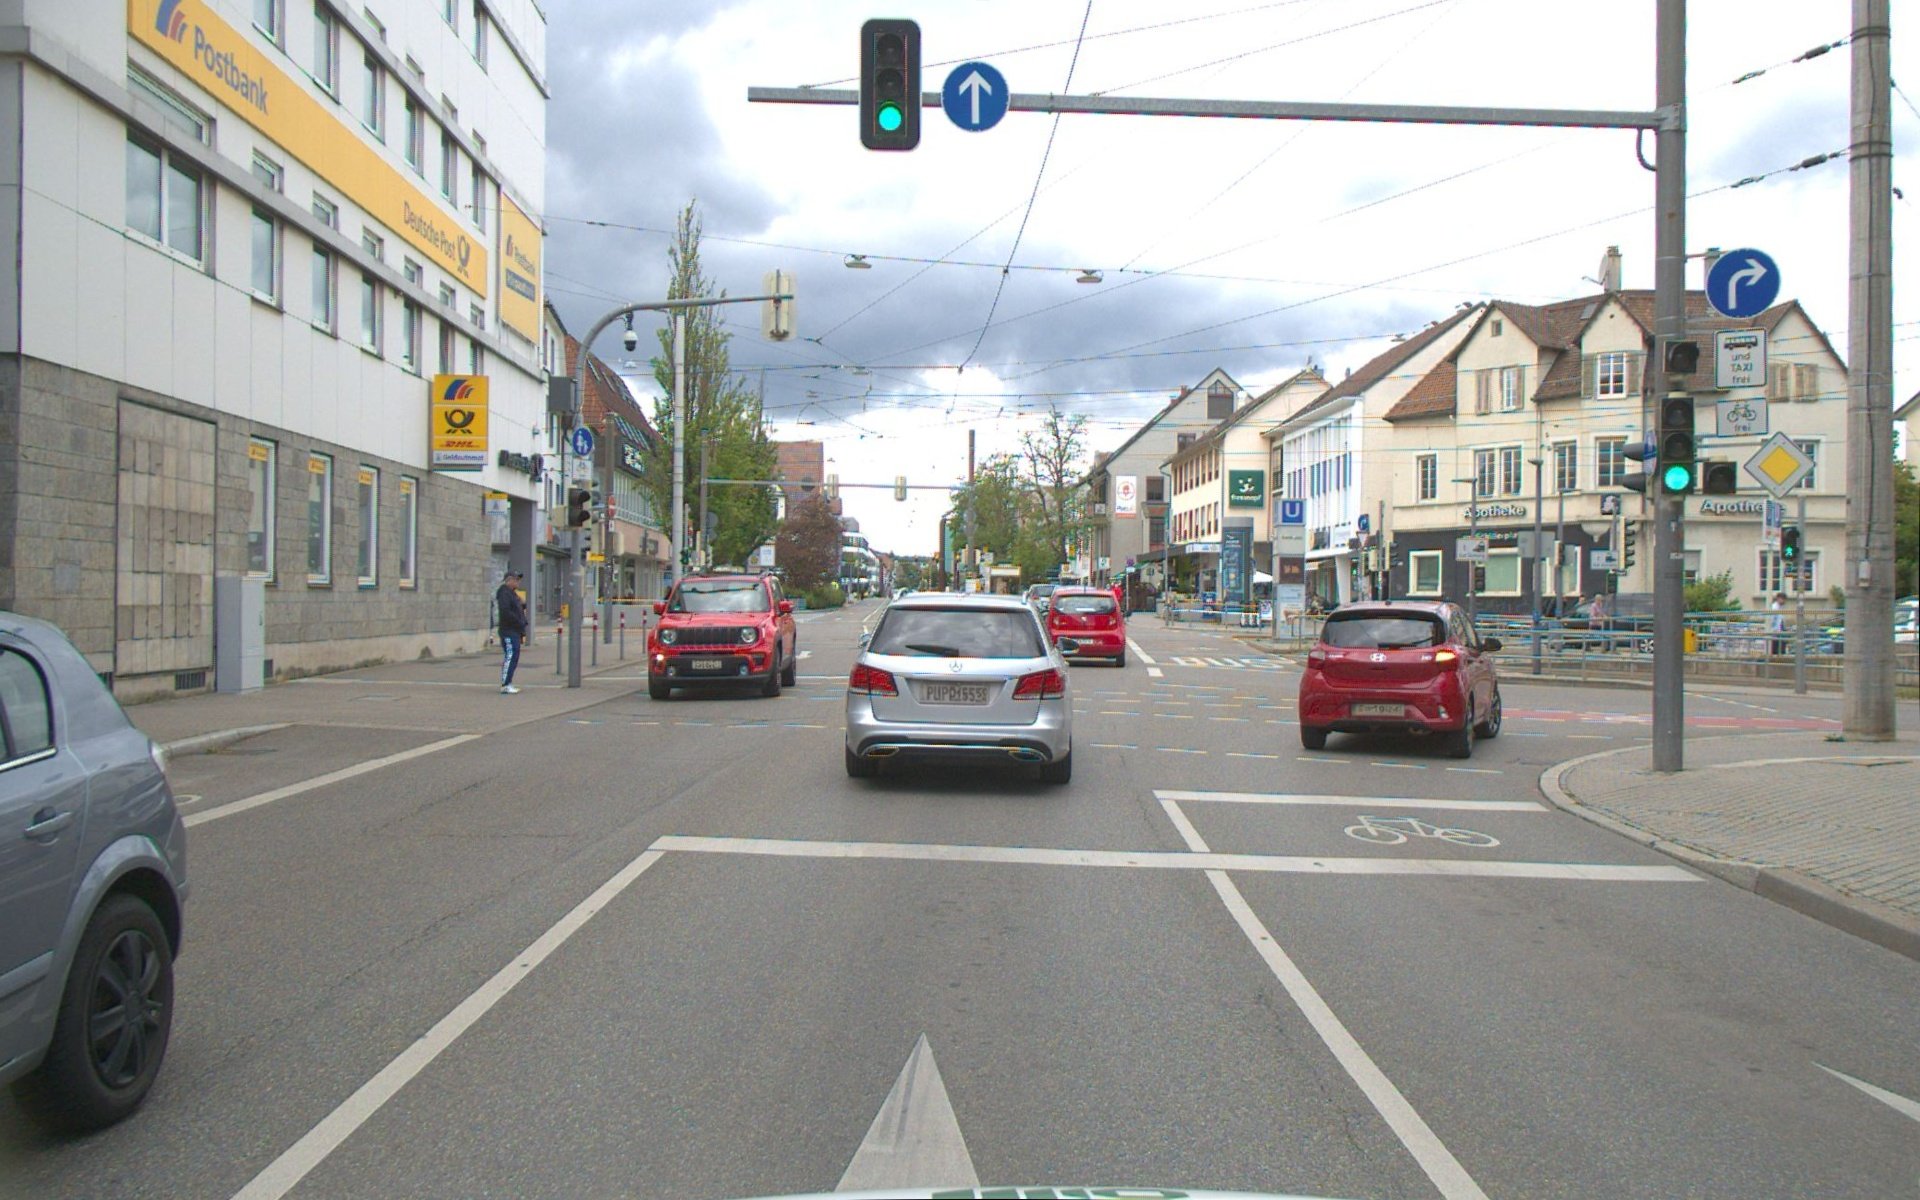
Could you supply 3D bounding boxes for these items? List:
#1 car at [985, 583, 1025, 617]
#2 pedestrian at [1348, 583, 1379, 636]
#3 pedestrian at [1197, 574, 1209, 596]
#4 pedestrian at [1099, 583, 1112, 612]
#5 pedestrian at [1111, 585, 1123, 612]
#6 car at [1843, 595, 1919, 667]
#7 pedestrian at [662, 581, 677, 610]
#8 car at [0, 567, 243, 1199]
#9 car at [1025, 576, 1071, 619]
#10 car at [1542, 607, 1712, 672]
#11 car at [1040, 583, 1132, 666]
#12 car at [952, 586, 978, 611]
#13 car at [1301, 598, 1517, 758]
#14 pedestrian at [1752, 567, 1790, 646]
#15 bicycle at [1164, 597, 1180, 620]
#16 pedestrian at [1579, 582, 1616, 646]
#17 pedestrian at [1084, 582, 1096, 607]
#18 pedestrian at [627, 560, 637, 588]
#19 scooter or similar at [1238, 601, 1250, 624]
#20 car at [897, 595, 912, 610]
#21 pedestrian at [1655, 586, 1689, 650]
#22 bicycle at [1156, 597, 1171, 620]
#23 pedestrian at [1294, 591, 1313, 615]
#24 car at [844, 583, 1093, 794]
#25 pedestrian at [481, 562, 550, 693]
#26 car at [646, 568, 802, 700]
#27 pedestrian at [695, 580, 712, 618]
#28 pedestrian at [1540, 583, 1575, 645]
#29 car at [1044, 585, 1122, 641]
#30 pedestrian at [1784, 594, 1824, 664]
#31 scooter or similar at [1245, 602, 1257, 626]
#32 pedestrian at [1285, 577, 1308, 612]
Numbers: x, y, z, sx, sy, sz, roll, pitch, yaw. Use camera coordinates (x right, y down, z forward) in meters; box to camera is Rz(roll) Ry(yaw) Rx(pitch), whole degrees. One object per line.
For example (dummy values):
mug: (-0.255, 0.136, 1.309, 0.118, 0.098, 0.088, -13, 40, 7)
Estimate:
car: (2.473, -0.004, 91.562, 1.953, 1.780, 3.998, 1, 0, -3)
pedestrian: (13.359, 0.299, 54.759, 0.824, 1.748, 0.726, 0, 0, -5)
pedestrian: (14.235, -0.870, 96.835, 0.522, 1.240, 0.579, 1, 0, -5)
pedestrian: (8.408, -0.143, 95.558, 0.566, 1.695, 0.650, 1, 0, -5)
pedestrian: (8.760, -0.099, 92.324, 0.566, 1.495, 0.650, 1, 0, -3)
car: (27.420, 0.892, 45.932, 1.972, 1.952, 4.712, 2, -1, -41)
pedestrian: (-16.407, -0.260, 93.420, 0.693, 1.634, 0.576, 0, 0, -23)
car: (-2.995, 0.678, 3.168, 1.624, 1.492, 3.919, 0, 0, -2)
car: (3.752, -0.129, 71.223, 1.699, 1.790, 3.999, 0, 0, -1)
car: (20.968, 1.224, 52.080, 4.614, 1.853, 1.853, 1, -1, 43)
car: (2.584, 0.452, 33.331, 1.697, 1.534, 4.003, 1, 0, 6)
car: (0.396, -0.117, 139.765, 1.954, 2.049, 3.997, 1, 0, -4)
car: (4.907, 0.729, 17.717, 1.664, 1.477, 3.998, 1, 0, 23)
pedestrian: (18.116, 0.135, 36.954, 0.637, 1.748, 0.701, 0, 0, 38)
bicycle: (10.408, 0.424, 81.165, 0.439, 1.127, 2.148, 0, 0, -1)
pedestrian: (17.706, 0.386, 45.919, 0.639, 1.748, 0.783, 3, 1, 45)
pedestrian: (7.876, -0.340, 100.154, 0.567, 1.460, 0.650, 1, 0, -8)
pedestrian: (-19.271, -1.541, 97.213, 0.568, 1.634, 0.642, 0, 0, -15)
scooter or similar: (12.685, 0.565, 73.994, 0.266, 1.019, 1.028, 0, 0, -5)
car: (-7.687, 0.354, 230.113, 1.954, 2.049, 3.998, 1, 0, -3)
pedestrian: (19.892, 0.490, 46.220, 0.772, 1.748, 0.649, 2, 1, 29)
bicycle: (9.968, 0.429, 81.148, 0.439, 1.110, 2.148, 0, 0, -1)
pedestrian: (17.091, 0.161, 82.299, 0.722, 1.184, 0.642, 1, 0, -5)
car: (0.018, 0.631, 14.131, 1.808, 1.534, 4.170, 0, 0, -1)
pedestrian: (-6.095, 0.371, 22.696, 0.634, 1.748, 0.783, 2, 0, 5)
car: (-3.281, 0.432, 23.636, 1.763, 1.724, 3.896, 0, 0, -2)
pedestrian: (-11.031, -0.058, 71.106, 0.623, 1.634, 0.702, 0, 0, -15)
pedestrian: (16.947, 0.394, 46.936, 0.690, 1.748, 0.648, 0, 0, -13)
car: (3.508, 0.347, 47.772, 1.700, 1.534, 3.997, 0, 0, -4)
pedestrian: (21.418, 0.730, 41.968, 0.639, 1.748, 0.783, 3, 1, 45)
scooter or similar: (13.041, 0.625, 74.046, 0.266, 1.019, 1.028, 0, 0, -5)
pedestrian: (15.811, -0.269, 77.755, 0.631, 1.619, 0.892, 2, 0, -22)
